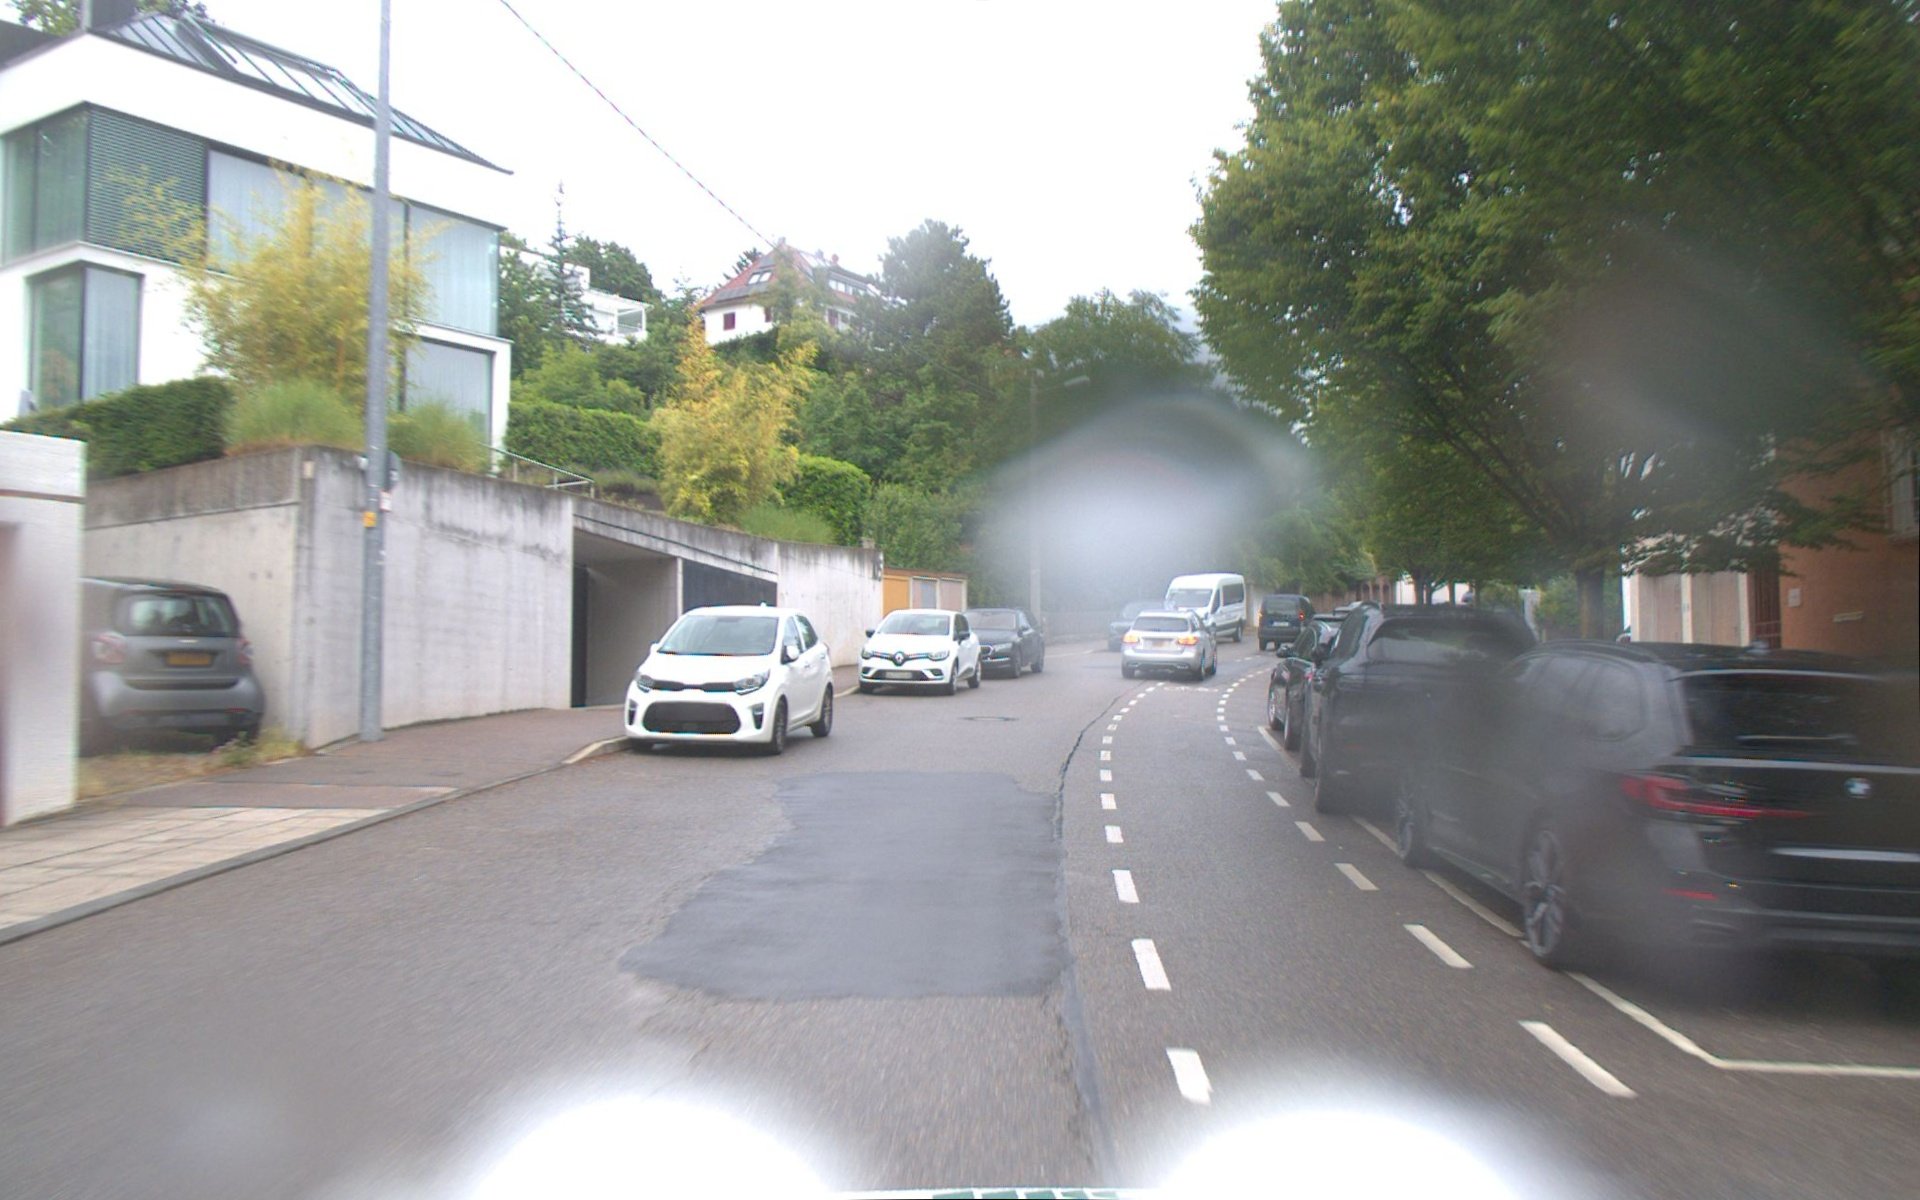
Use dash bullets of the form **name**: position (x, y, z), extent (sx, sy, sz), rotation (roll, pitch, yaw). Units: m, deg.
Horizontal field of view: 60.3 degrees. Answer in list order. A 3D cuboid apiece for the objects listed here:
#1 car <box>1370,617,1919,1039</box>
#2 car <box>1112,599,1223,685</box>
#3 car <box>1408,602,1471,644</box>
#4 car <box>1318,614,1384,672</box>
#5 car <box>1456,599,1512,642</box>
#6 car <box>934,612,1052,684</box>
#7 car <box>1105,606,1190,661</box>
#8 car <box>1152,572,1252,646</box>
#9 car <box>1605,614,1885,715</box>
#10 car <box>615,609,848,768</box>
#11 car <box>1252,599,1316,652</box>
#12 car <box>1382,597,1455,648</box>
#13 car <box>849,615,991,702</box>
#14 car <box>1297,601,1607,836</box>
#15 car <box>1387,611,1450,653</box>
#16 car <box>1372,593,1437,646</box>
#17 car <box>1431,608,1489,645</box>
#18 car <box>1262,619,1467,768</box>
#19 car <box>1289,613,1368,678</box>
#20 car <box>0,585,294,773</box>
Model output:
- **car**: position (3.644, 0.913, 8.868), extent (1.816, 1.609, 4.859), rotation (1, 0, 2)
- **car**: position (4.651, 0.896, 36.612), extent (1.982, 1.738, 4.219), rotation (1, -1, 13)
- **car**: position (19.413, 0.893, 66.904), extent (1.681, 1.583, 4.159), rotation (2, 1, 27)
- **car**: position (11.416, 1.220, 48.180), extent (1.592, 1.590, 3.023), rotation (1, 0, 19)
- **car**: position (24.215, 0.916, 76.319), extent (1.743, 1.884, 4.420), rotation (1, 1, 27)
- **car**: position (0.813, 1.011, 36.618), extent (1.676, 1.485, 4.686), rotation (0, -1, 13)
- **car**: position (6.165, 1.075, 54.037), extent (1.856, 1.721, 4.547), rotation (-1, 0, 19)
- **car**: position (9.016, 0.301, 61.111), extent (2.052, 2.594, 6.094), rotation (0, 0, 24)
- **car**: position (13.787, 1.138, 29.327), extent (4.213, 1.491, 1.935), rotation (3, -2, 18)
- **car**: position (-2.392, 0.880, 18.228), extent (1.592, 1.542, 3.835), rotation (0, 0, 7)
- **car**: position (11.077, 0.859, 56.409), extent (1.951, 1.738, 4.003), rotation (1, -1, 14)
- **car**: position (15.524, 0.727, 55.865), extent (1.740, 1.580, 4.727), rotation (2, 1, 23)
- **car**: position (-0.651, 1.007, 30.062), extent (1.793, 1.465, 4.043), rotation (0, -1, 10)
- **car**: position (4.132, 0.882, 14.749), extent (2.010, 1.685, 5.240), rotation (0, 0, 10)
- **car**: position (17.223, 1.169, 62.057), extent (1.610, 1.449, 4.285), rotation (2, 1, 24)
- **car**: position (13.788, 0.578, 51.169), extent (1.620, 1.546, 4.001), rotation (1, 0, 19)
- **car**: position (21.730, 1.119, 71.843), extent (1.617, 1.507, 4.013), rotation (1, 1, 28)
- **car**: position (4.850, 1.046, 20.513), extent (1.822, 1.495, 5.059), rotation (3, 0, 7)
- **car**: position (9.334, 1.114, 41.722), extent (1.633, 1.496, 3.712), rotation (2, 0, 17)
- **car**: position (-8.299, 0.656, 15.804), extent (3.852, 1.504, 1.761), rotation (2, 0, 35)
